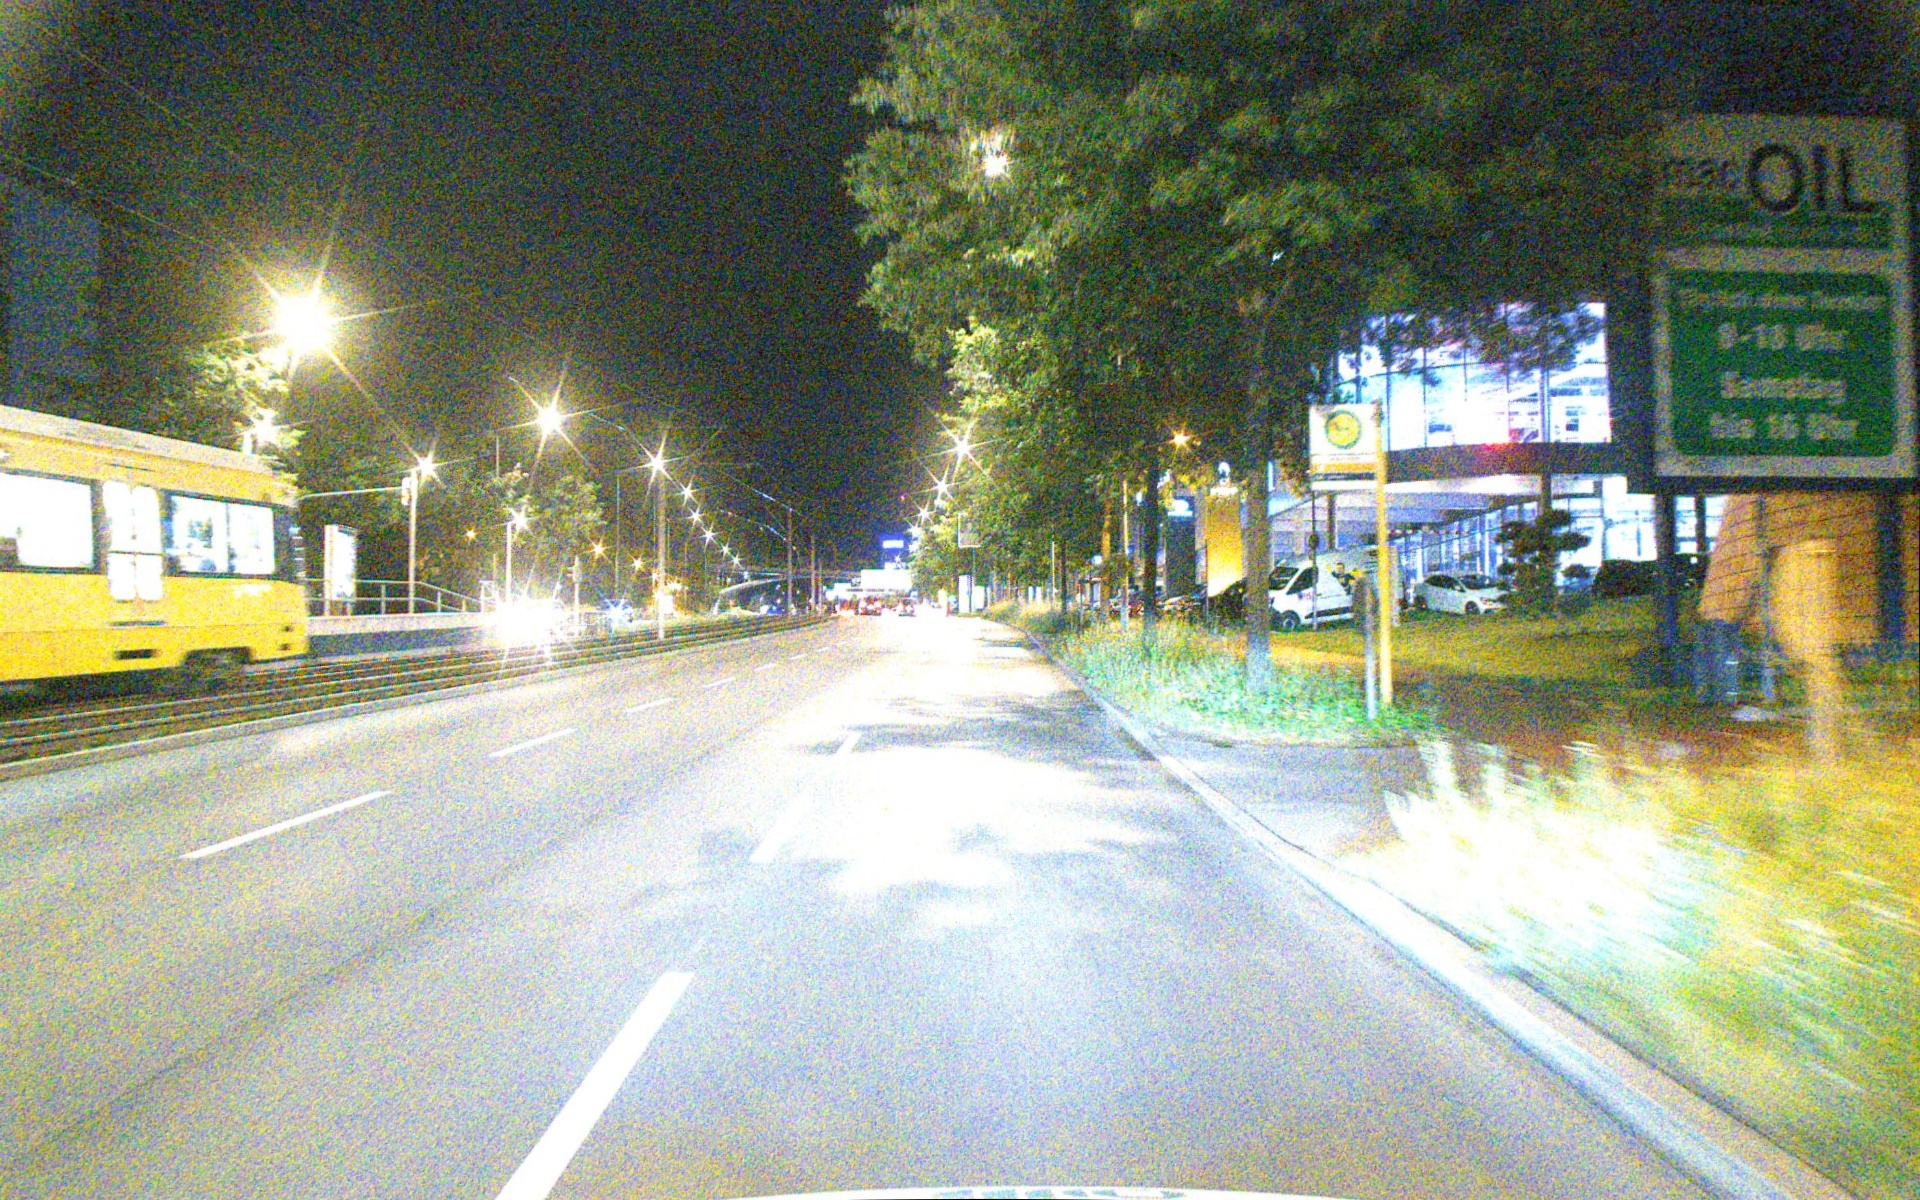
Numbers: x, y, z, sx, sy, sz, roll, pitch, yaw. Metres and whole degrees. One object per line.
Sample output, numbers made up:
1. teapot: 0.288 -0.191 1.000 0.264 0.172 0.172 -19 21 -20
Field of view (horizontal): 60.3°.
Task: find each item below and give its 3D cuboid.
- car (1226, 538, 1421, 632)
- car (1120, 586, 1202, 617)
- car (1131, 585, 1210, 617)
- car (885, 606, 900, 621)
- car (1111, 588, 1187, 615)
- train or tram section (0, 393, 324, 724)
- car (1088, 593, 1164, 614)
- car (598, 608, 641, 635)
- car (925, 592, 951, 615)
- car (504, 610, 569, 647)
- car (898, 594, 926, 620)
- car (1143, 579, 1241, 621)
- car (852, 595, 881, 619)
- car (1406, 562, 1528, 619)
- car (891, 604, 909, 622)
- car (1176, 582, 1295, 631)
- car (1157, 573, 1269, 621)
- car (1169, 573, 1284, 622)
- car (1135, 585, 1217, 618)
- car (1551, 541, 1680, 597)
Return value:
1. car: 12.182 -0.509 55.447 5.925 2.572 2.273 -6 1 -18
2. car: 10.914 0.087 89.897 3.960 1.397 1.817 -4 1 -17
3. car: 11.117 0.049 87.256 3.705 1.402 1.710 -5 0 -14
4. car: -8.617 1.696 211.794 1.848 1.892 3.999 0 -1 -1
5. car: 10.897 0.075 95.361 3.933 1.416 1.814 -2 1 -23
6. train or tram section: -12.636 -0.491 19.679 2.702 3.894 18.671 0 0 1
7. car: 10.665 0.218 106.178 4.571 1.286 1.932 0 1 -26
8. car: -20.167 1.272 98.032 1.626 1.543 3.911 0 -1 1
9. car: -2.087 0.358 155.988 2.378 2.150 4.825 0 -1 -1
10. car: -18.043 1.212 70.572 1.748 1.523 4.173 0 -1 -1
11. car: -4.117 0.582 141.396 2.308 2.166 4.825 0 -1 -1
12. car: 10.668 -0.016 76.128 4.009 1.595 1.850 -5 1 -12
13. car: -7.813 0.605 139.117 2.217 2.049 4.825 0 -1 -1
14. car: 17.020 -0.306 55.730 1.781 1.742 3.940 -3 0 -22
15. car: -6.693 1.445 184.338 1.848 1.892 3.999 0 -1 -1
16. car: 10.853 0.237 65.279 4.128 1.692 1.955 -3 0 -12
17. car: 11.166 -0.138 73.136 4.382 1.716 1.994 -5 1 -12
18. car: 11.295 -0.120 70.272 4.381 1.841 1.994 -3 0 -12
19. car: 11.040 0.089 84.689 3.738 1.478 1.711 -3 0 -15
20. car: 22.317 -1.028 56.439 1.770 1.604 3.940 -6 1 -22
